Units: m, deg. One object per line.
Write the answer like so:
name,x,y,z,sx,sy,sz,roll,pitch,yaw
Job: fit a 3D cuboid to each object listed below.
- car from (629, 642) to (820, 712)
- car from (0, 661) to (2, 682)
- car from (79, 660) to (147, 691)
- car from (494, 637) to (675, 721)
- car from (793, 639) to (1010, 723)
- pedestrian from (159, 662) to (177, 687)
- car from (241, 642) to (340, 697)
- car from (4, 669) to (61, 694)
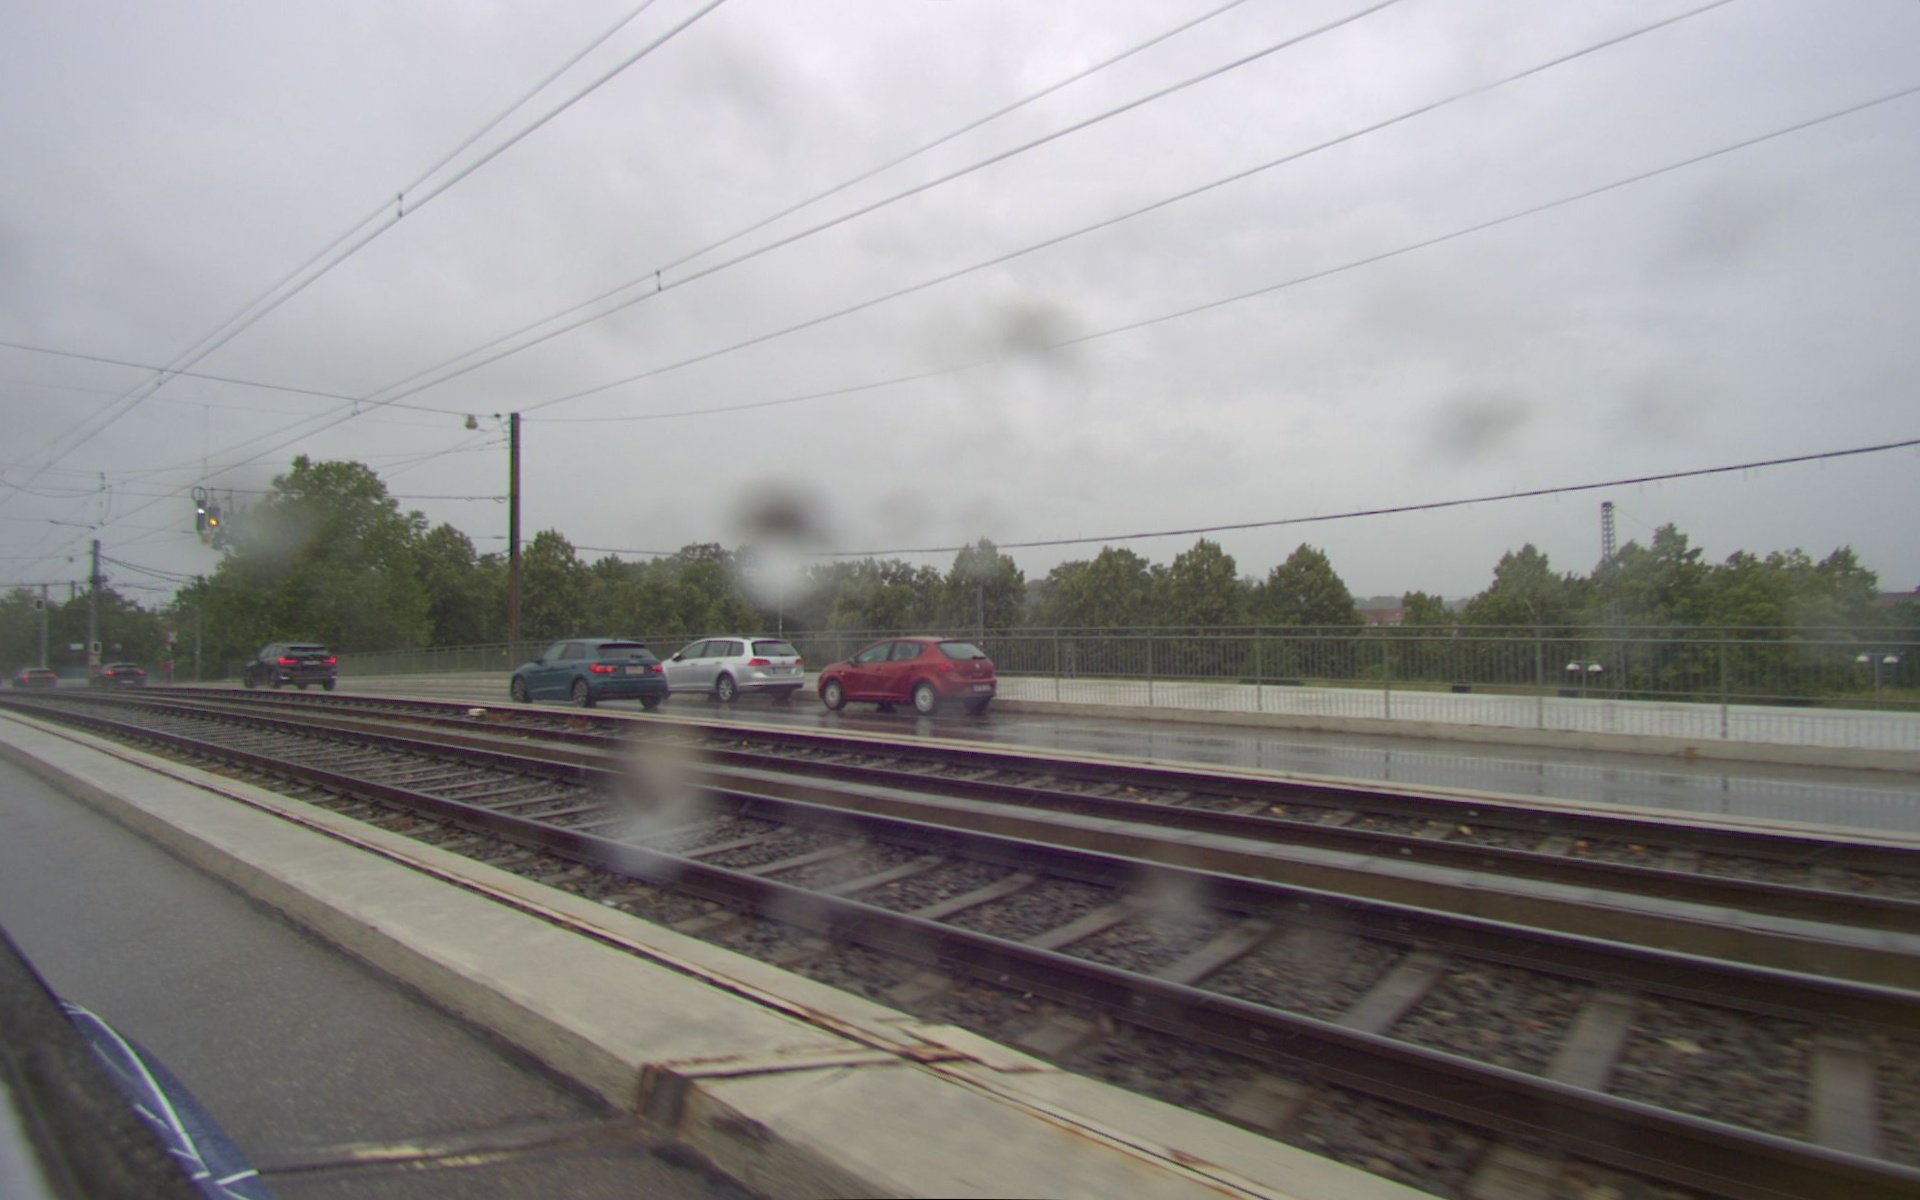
car,-5.575,1.756,23.708,4.616,1.467,1.973,-2,-4,40
car,-82.856,6.043,85.719,4.938,1.730,1.973,-2,-4,41
car,-44.088,3.902,52.680,4.088,1.521,1.973,-2,-4,40
car,-7.845,1.568,20.958,4.081,1.493,1.781,-2,-1,41
car,-1.217,1.526,19.784,4.318,1.467,1.604,-2,-4,40
pedestrian,-60.003,5.653,76.710,1.041,1.832,0.856,-2,-1,39
car,-22.739,2.311,34.314,3.998,1.667,1.799,-2,-1,41
car,-61.638,5.364,67.238,5.107,1.521,1.974,-2,-4,38
